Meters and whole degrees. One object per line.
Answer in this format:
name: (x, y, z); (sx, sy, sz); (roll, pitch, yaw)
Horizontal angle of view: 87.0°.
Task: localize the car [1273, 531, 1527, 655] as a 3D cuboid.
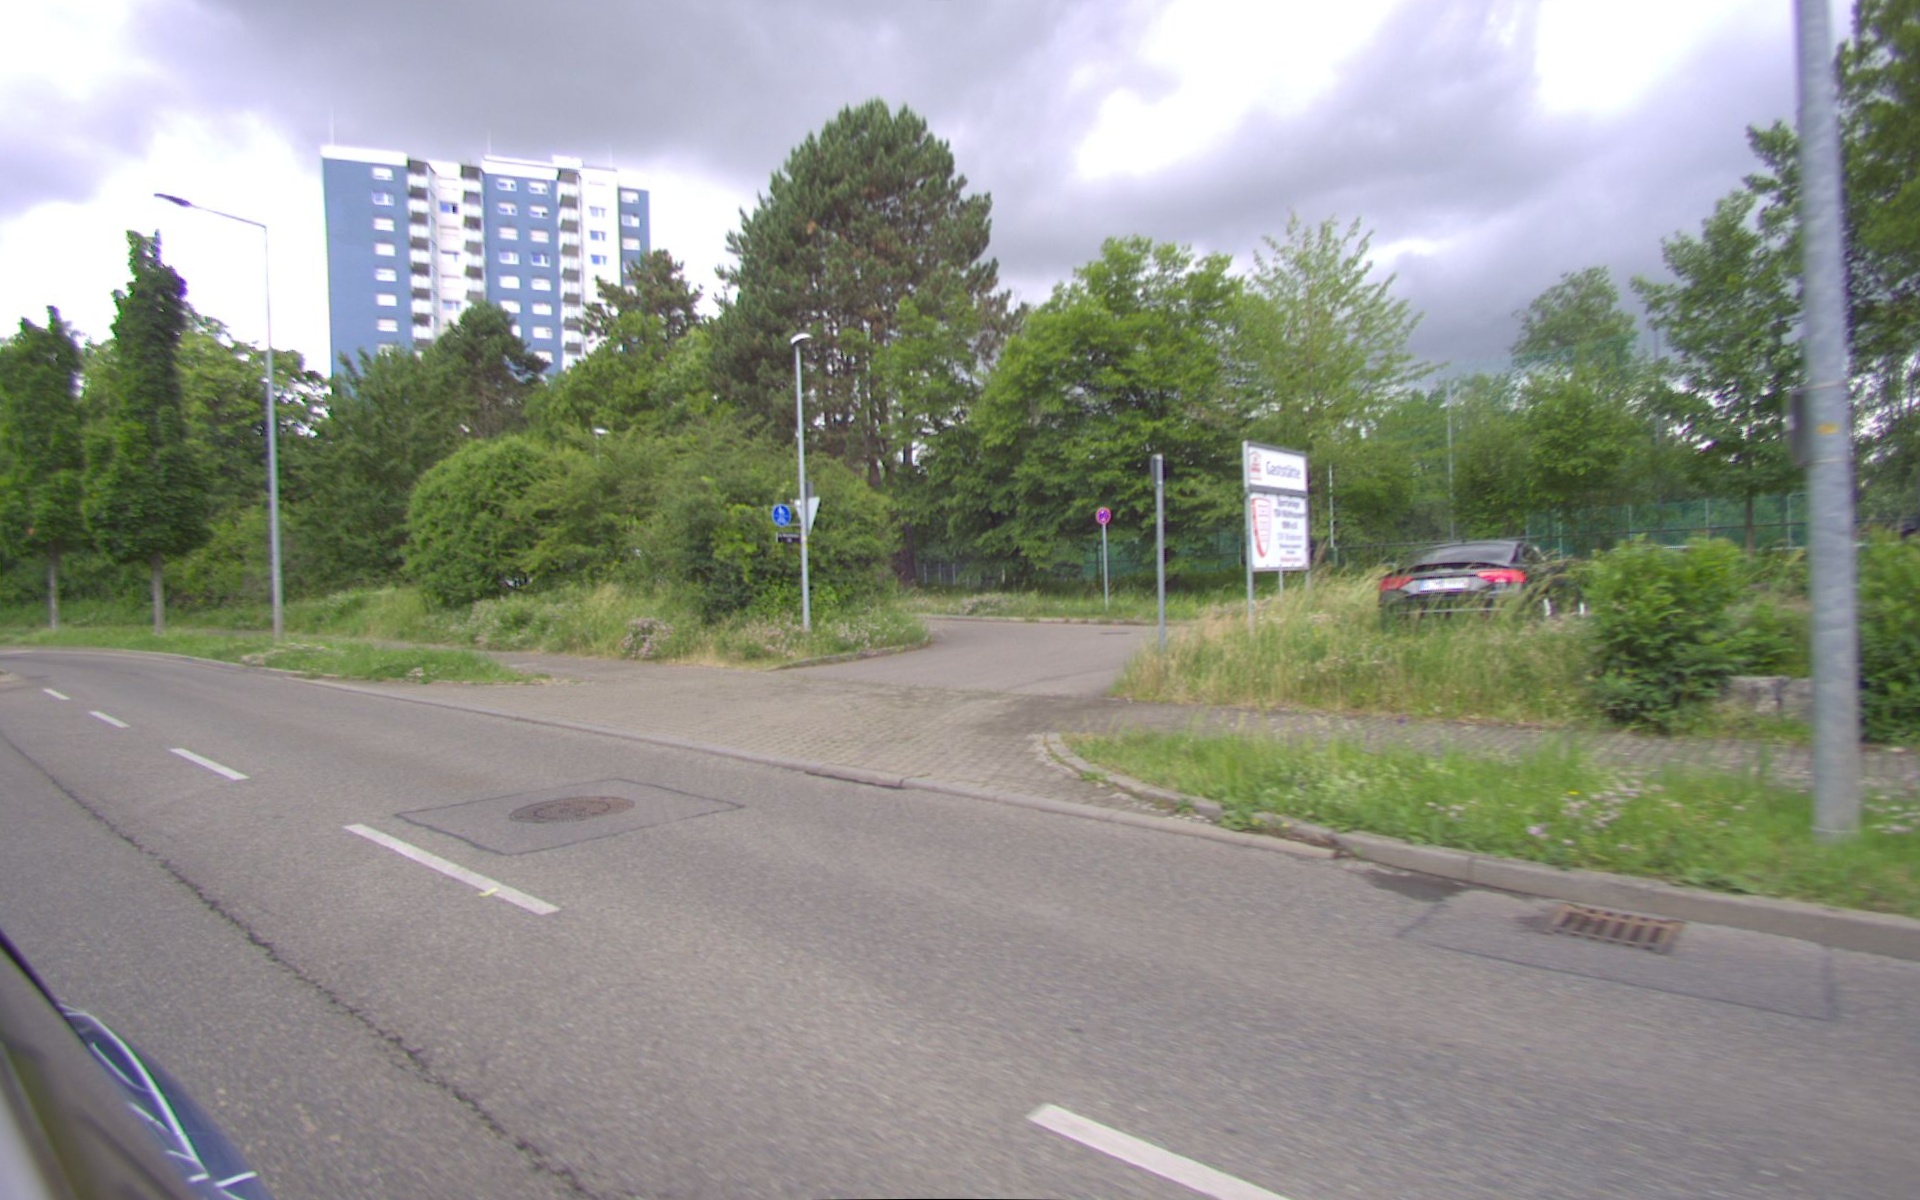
car: (6.099, -0.120, 13.810); (2.000, 1.428, 3.944); (-1, 1, 42)
